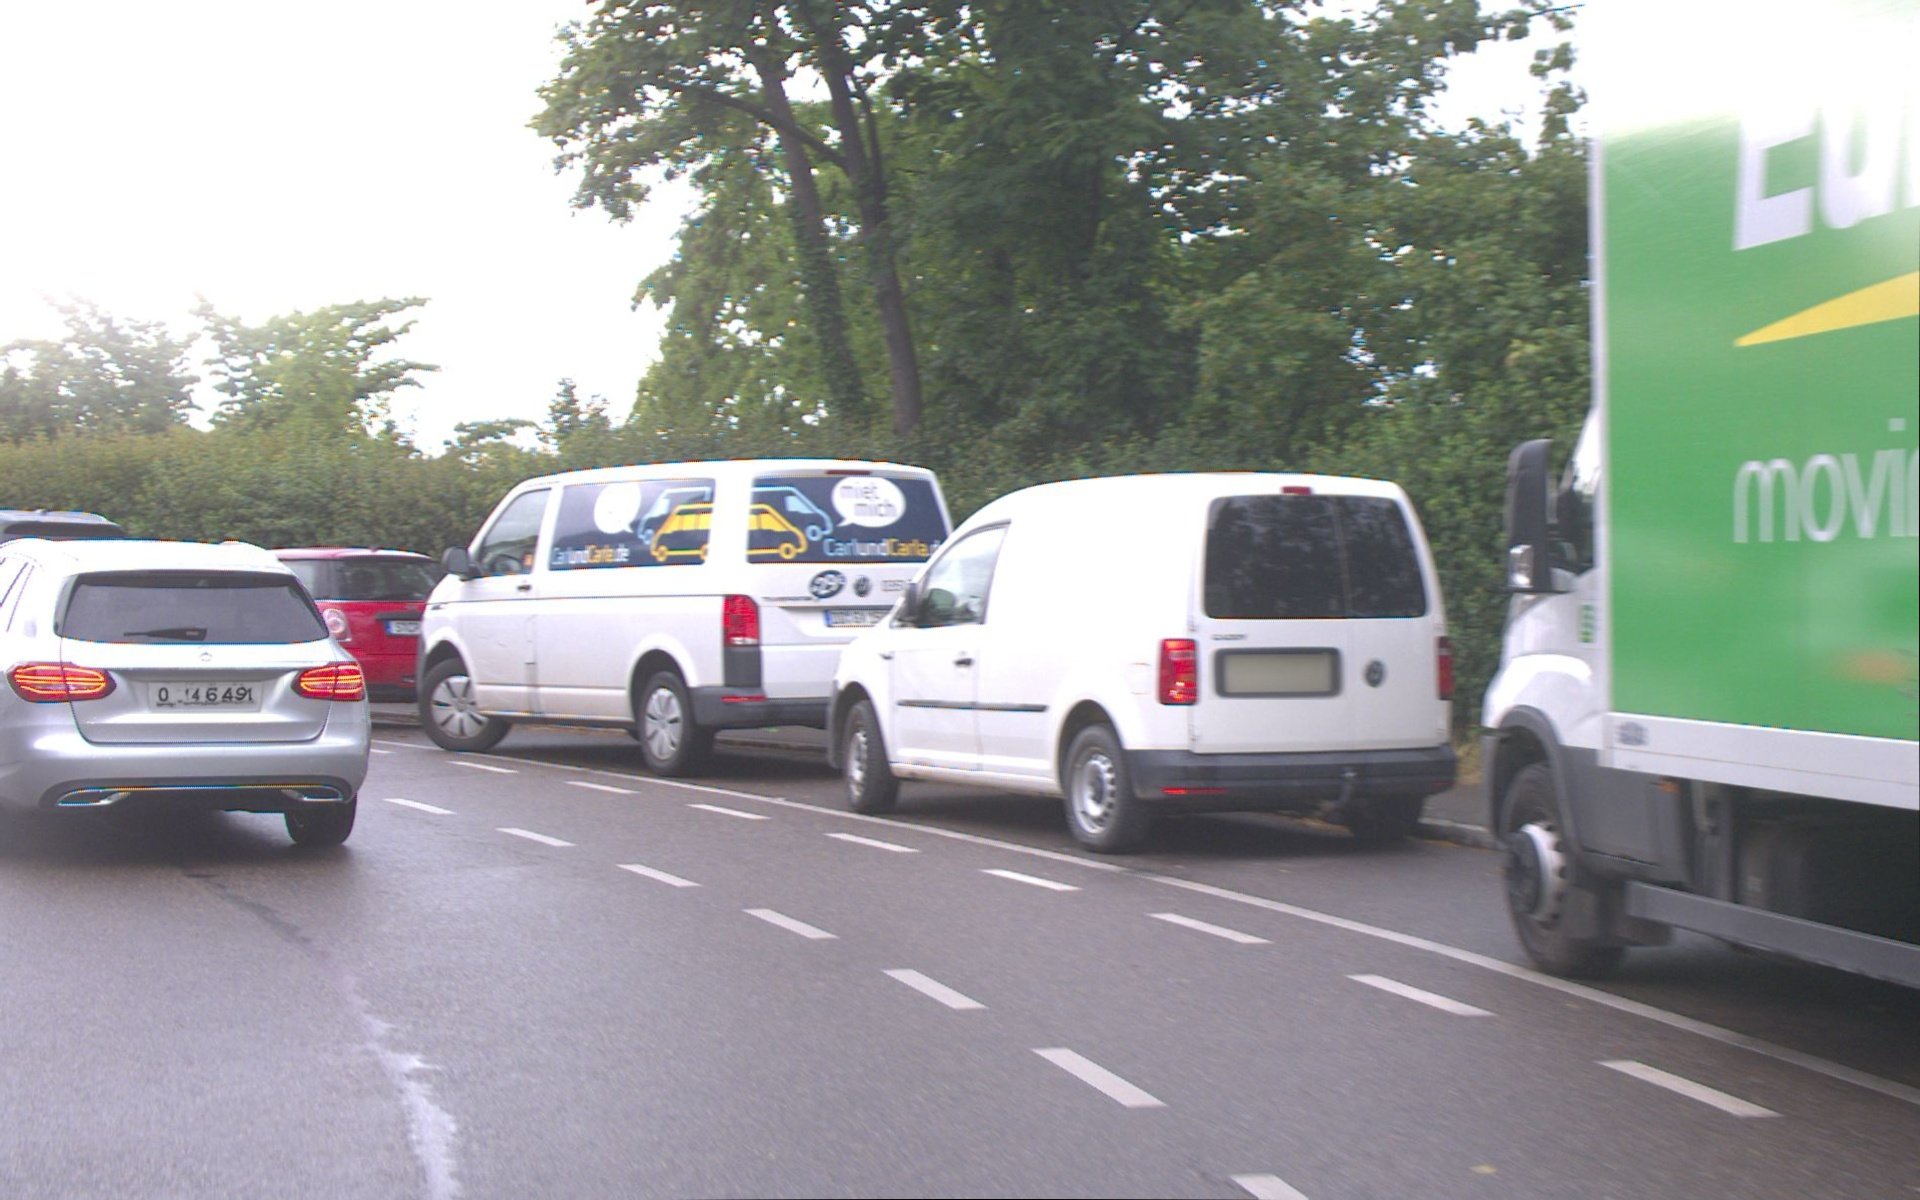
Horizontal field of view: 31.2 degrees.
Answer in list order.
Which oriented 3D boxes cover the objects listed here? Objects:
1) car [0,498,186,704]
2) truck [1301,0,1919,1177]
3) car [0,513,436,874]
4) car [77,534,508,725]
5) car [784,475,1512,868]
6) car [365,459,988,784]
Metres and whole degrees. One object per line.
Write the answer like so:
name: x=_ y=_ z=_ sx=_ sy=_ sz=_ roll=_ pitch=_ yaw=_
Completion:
car: x=-9.410 y=-0.041 z=32.279 sx=2.027 sy=1.777 sz=4.897 roll=2 pitch=0 yaw=-41
truck: x=3.459 y=-0.434 z=8.674 sx=2.773 sy=3.458 sz=8.936 roll=-1 pitch=1 yaw=-10
car: x=-4.167 y=0.365 z=17.099 sx=1.982 sy=1.548 sz=4.299 roll=0 pitch=1 yaw=-25
car: x=-5.494 y=0.215 z=28.044 sx=1.672 sy=1.409 sz=3.740 roll=2 pitch=0 yaw=-43
car: x=0.811 y=0.263 z=17.806 sx=1.859 sy=1.764 sz=4.380 roll=-1 pitch=2 yaw=-26
car: x=-2.022 y=0.079 z=23.028 sx=1.860 sy=1.941 sz=4.807 roll=0 pitch=1 yaw=-37
